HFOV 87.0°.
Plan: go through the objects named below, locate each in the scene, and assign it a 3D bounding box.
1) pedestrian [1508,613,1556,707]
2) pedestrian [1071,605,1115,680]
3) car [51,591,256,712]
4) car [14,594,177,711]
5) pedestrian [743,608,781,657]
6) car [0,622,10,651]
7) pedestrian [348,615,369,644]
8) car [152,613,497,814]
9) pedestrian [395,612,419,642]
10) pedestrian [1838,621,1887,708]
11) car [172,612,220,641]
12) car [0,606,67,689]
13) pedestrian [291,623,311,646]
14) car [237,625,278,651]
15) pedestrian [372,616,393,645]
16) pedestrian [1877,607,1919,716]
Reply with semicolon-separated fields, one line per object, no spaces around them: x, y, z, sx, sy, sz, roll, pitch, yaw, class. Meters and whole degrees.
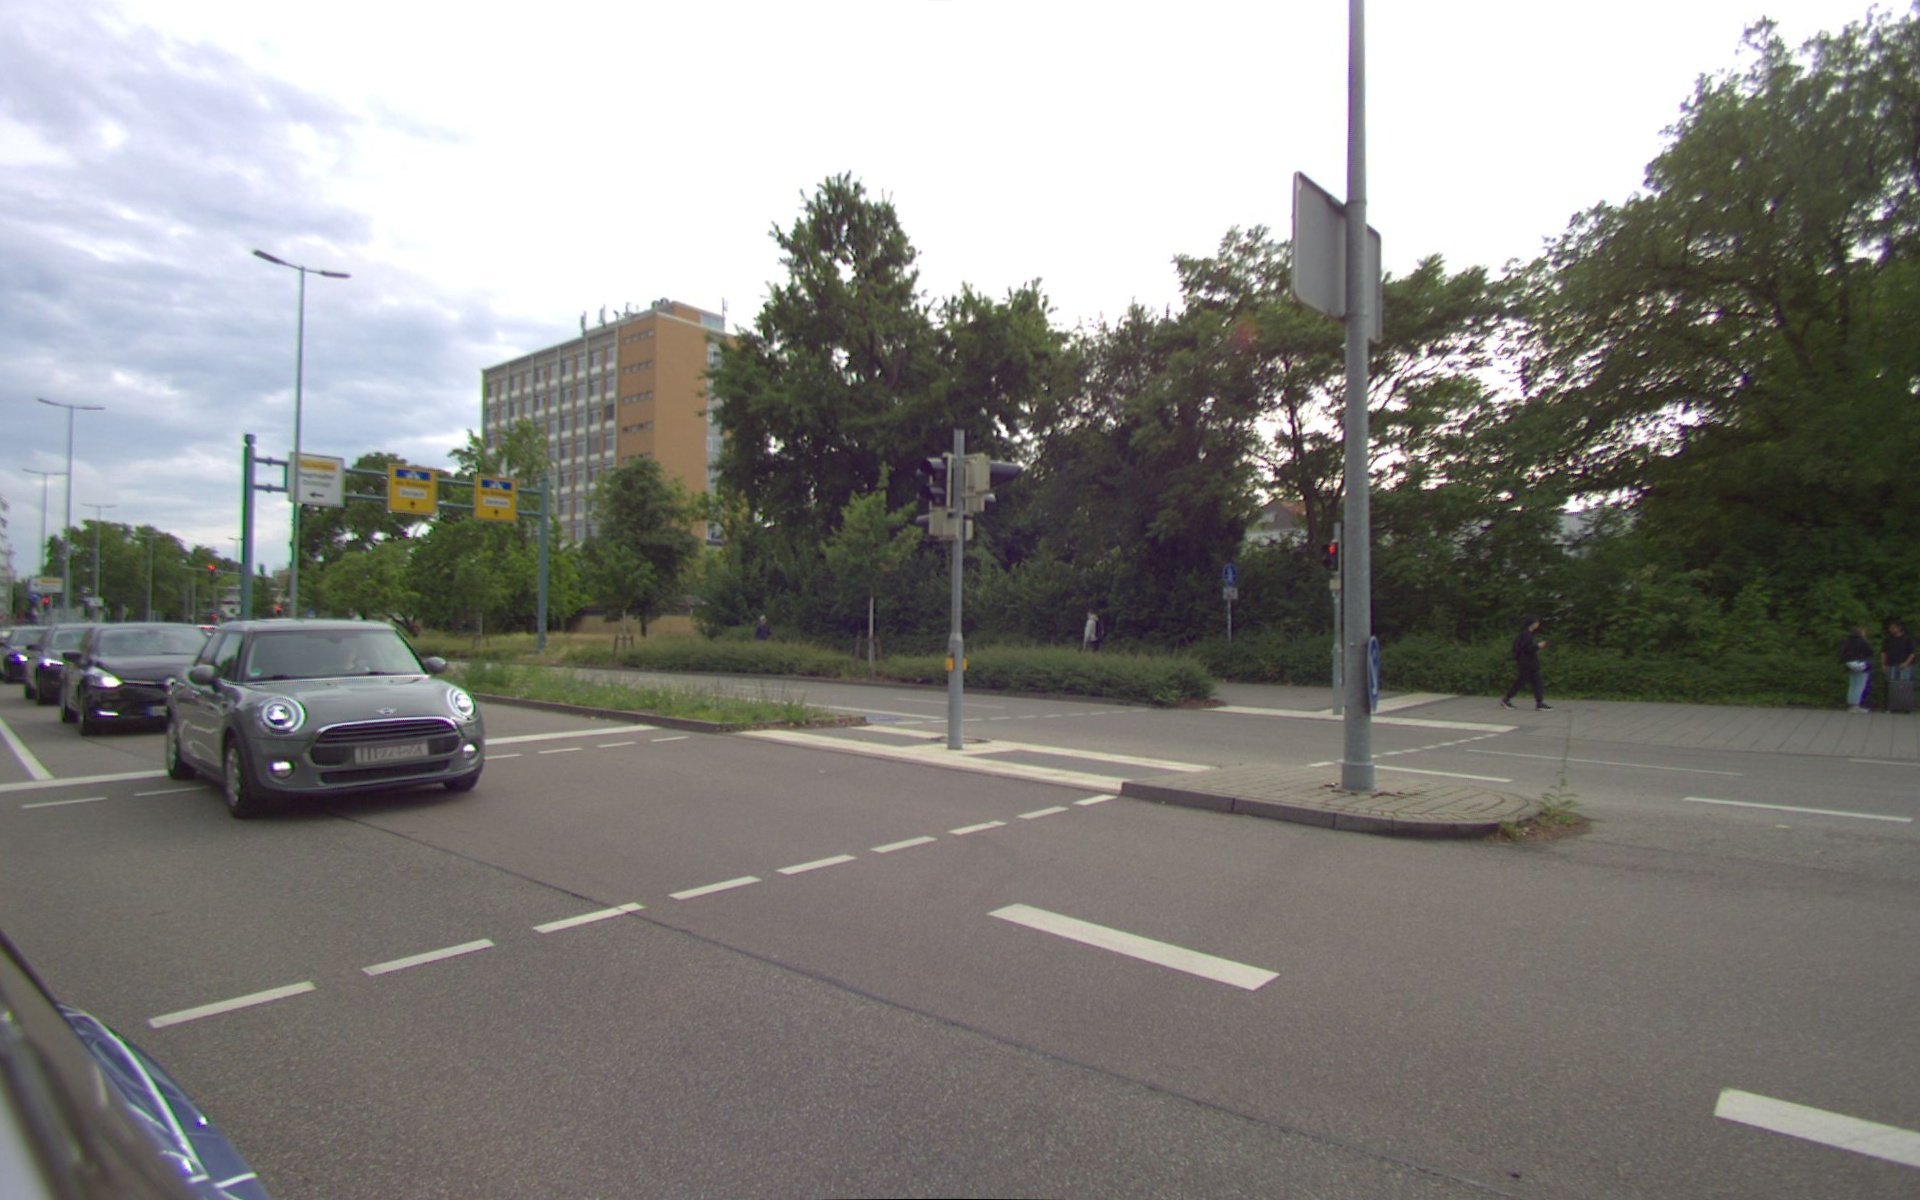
10.737;1.114;19.000;0.652;1.708;0.583;-1;-1;43;pedestrian
3.695;1.158;28.077;0.895;2.029;0.823;0;1;-42;pedestrian
-11.446;0.682;14.267;4.001;1.470;1.708;-1;-3;44;car
-16.888;0.972;19.711;4.001;2.029;1.971;-1;-3;44;car
-6.698;1.090;34.256;0.813;1.637;0.977;-1;-1;41;pedestrian
-54.434;2.040;56.329;3.999;1.557;1.972;-1;0;42;car
-42.829;2.107;72.072;1.219;2.029;0.871;-1;-1;36;pedestrian
-5.497;0.803;8.570;3.706;1.328;1.603;-1;-3;44;car
-37.423;1.821;68.480;1.121;1.933;1.163;0;-1;-43;pedestrian
17.340;1.226;19.459;0.600;1.618;0.498;-1;0;31;pedestrian
-48.455;1.645;64.164;4.001;1.786;1.867;-1;0;44;car
-24.887;1.205;26.426;4.001;2.029;1.971;-1;-3;44;car
-60.852;3.186;93.413;1.520;2.029;1.207;-1;-1;43;pedestrian
-45.546;2.442;65.590;1.827;1.564;4.007;1;-2;-40;car
-41.064;2.182;71.915;1.219;2.029;0.871;-1;-1;36;pedestrian
18.533;1.146;19.321;1.088;2.029;1.038;-1;-1;9;pedestrian
